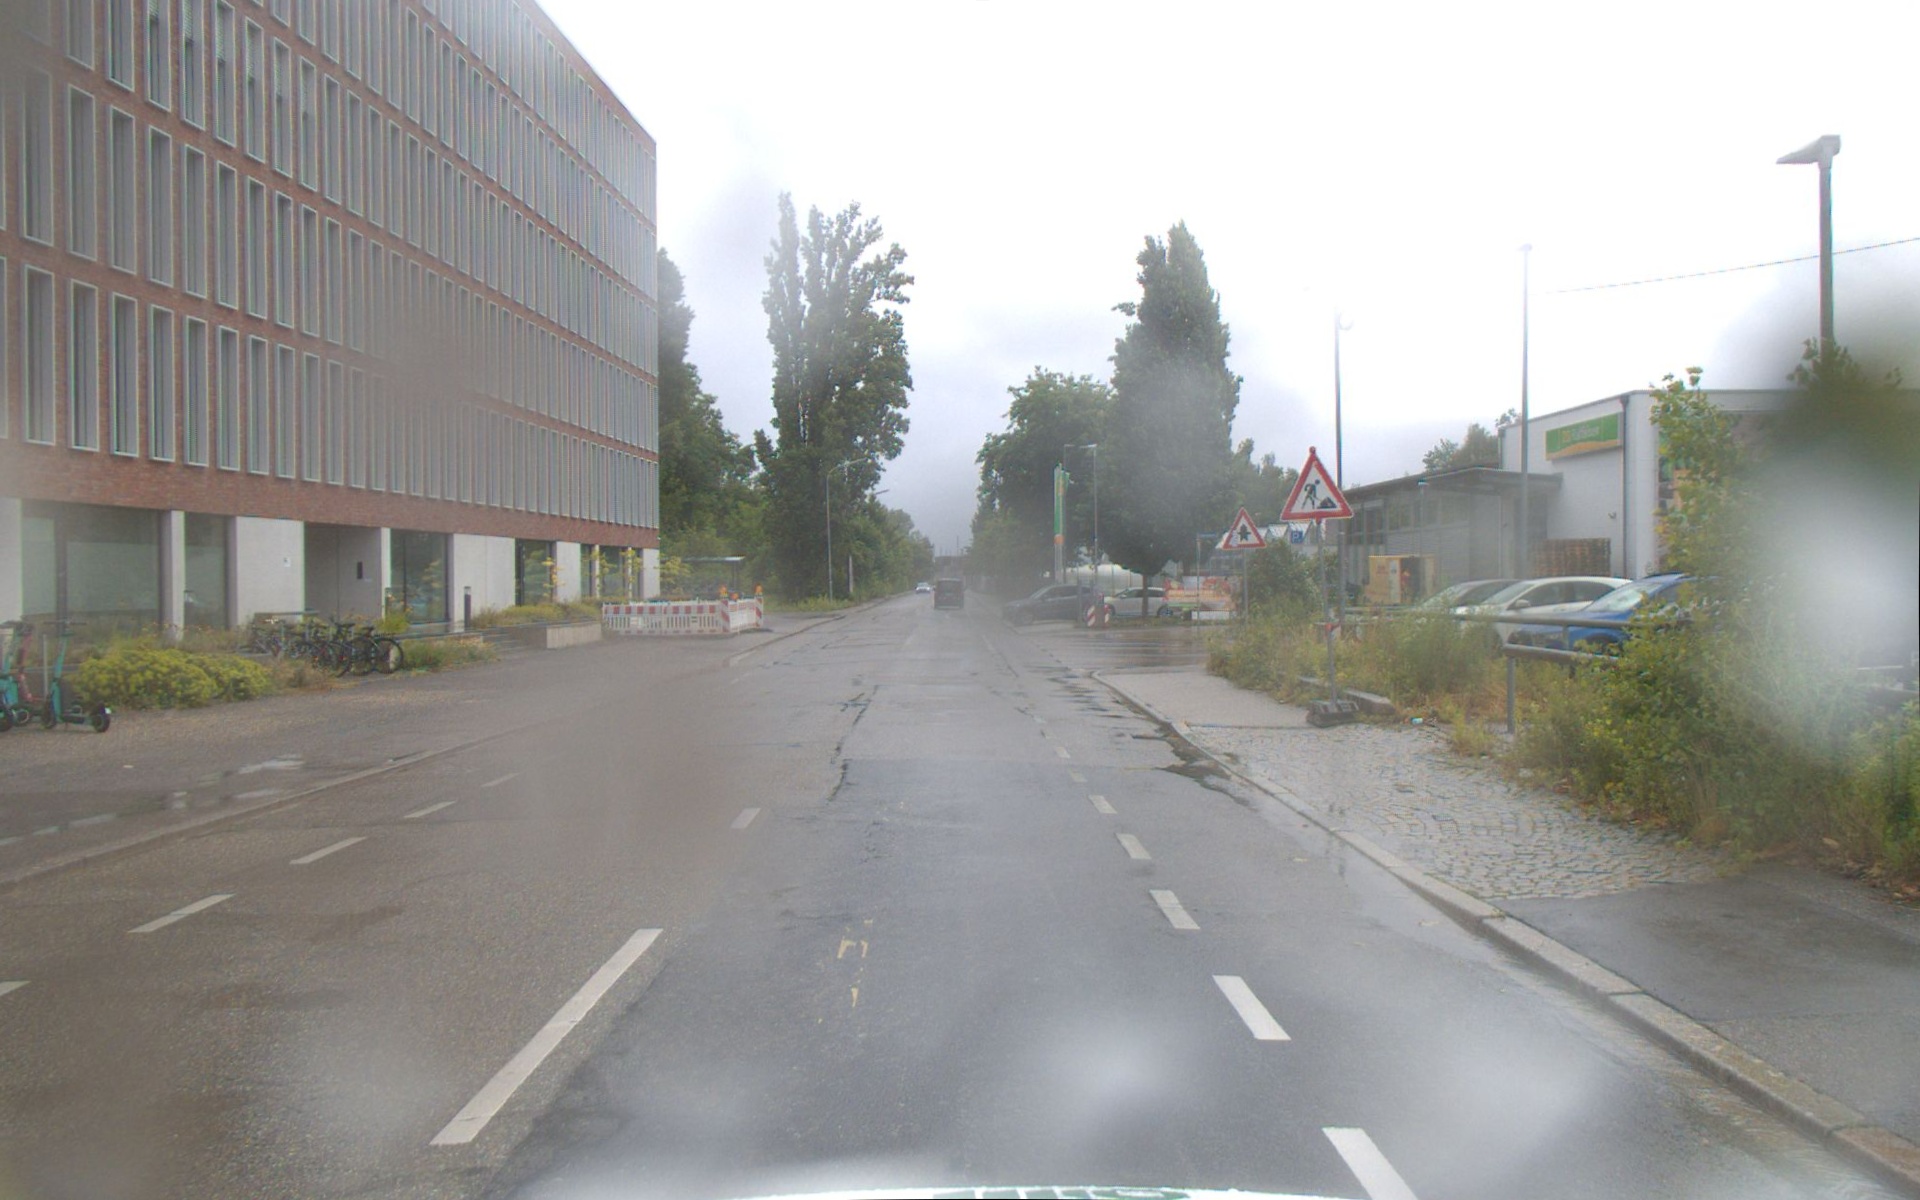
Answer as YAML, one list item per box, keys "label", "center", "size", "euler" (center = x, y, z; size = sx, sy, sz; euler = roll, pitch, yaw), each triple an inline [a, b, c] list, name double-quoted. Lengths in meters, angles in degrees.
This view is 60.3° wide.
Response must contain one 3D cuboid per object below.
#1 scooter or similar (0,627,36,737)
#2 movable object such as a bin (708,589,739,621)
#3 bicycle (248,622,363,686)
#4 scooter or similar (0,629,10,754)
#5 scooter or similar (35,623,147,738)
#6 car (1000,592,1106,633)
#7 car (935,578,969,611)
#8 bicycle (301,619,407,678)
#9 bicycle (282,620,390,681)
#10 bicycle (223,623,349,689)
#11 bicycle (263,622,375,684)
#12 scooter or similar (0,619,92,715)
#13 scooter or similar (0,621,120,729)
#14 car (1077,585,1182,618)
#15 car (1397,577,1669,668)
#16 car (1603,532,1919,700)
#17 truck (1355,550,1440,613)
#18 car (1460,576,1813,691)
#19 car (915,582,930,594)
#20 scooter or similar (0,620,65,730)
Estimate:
- label: "scooter or similar"
  center: [-11.063, 0.921, 18.363]
  size: [1.293, 1.198, 0.466]
  euler: [-2, 0, -12]
- label: "movable object such as a bin"
  center: [-10.216, 0.207, 71.482]
  size: [1.271, 1.331, 1.446]
  euler: [-1, 1, -7]
- label: "bicycle"
  center: [-11.746, 0.962, 29.714]
  size: [1.821, 1.096, 0.544]
  euler: [1, 0, -2]
- label: "scooter or similar"
  center: [-9.876, 0.933, 16.163]
  size: [0.456, 1.251, 1.320]
  euler: [-1, 0, -3]
- label: "scooter or similar"
  center: [-9.866, 0.899, 18.775]
  size: [1.291, 1.251, 0.467]
  euler: [-1, 0, 29]
- label: "car"
  center: [3.821, 0.504, 68.336]
  size: [4.061, 1.596, 1.761]
  euler: [-1, 0, -10]
- label: "car"
  center: [-0.489, -0.322, 100.030]
  size: [1.953, 1.944, 4.200]
  euler: [-1, 0, -1]
- label: "bicycle"
  center: [-11.740, 0.940, 32.075]
  size: [1.821, 1.096, 0.544]
  euler: [1, 0, -2]
- label: "bicycle"
  center: [-11.788, 0.948, 31.275]
  size: [1.821, 1.096, 0.544]
  euler: [1, 0, -2]
- label: "bicycle"
  center: [-11.724, 0.968, 28.795]
  size: [1.909, 1.096, 0.620]
  euler: [1, 0, -2]
- label: "bicycle"
  center: [-11.765, 0.967, 30.372]
  size: [1.821, 1.096, 0.544]
  euler: [1, 0, -2]
- label: "scooter or similar"
  center: [-12.220, 0.890, 21.932]
  size: [1.200, 1.229, 0.418]
  euler: [-1, 0, 7]
- label: "scooter or similar"
  center: [-10.928, 0.888, 20.078]
  size: [0.459, 1.229, 1.201]
  euler: [-1, 1, 42]
- label: "car"
  center: [7.745, 0.063, 75.737]
  size: [4.608, 1.488, 1.890]
  euler: [0, 1, -2]
- label: "car"
  center: [9.928, 0.393, 28.868]
  size: [4.096, 1.536, 1.890]
  euler: [0, -1, 0]
- label: "car"
  center: [10.128, 0.162, 19.091]
  size: [4.582, 1.765, 2.129]
  euler: [-2, -1, 4]
- label: "truck"
  center: [20.161, -0.886, 76.587]
  size: [2.253, 2.705, 7.419]
  euler: [-2, 1, 3]
- label: "car"
  center: [9.367, 0.458, 23.144]
  size: [4.207, 1.543, 1.819]
  euler: [0, -1, 0]
- label: "car"
  center: [-4.842, -1.600, 214.900]
  size: [1.698, 1.475, 4.381]
  euler: [-3, 1, 0]
- label: "scooter or similar"
  center: [-11.159, 0.875, 19.242]
  size: [0.459, 1.251, 1.201]
  euler: [-1, 1, 42]
